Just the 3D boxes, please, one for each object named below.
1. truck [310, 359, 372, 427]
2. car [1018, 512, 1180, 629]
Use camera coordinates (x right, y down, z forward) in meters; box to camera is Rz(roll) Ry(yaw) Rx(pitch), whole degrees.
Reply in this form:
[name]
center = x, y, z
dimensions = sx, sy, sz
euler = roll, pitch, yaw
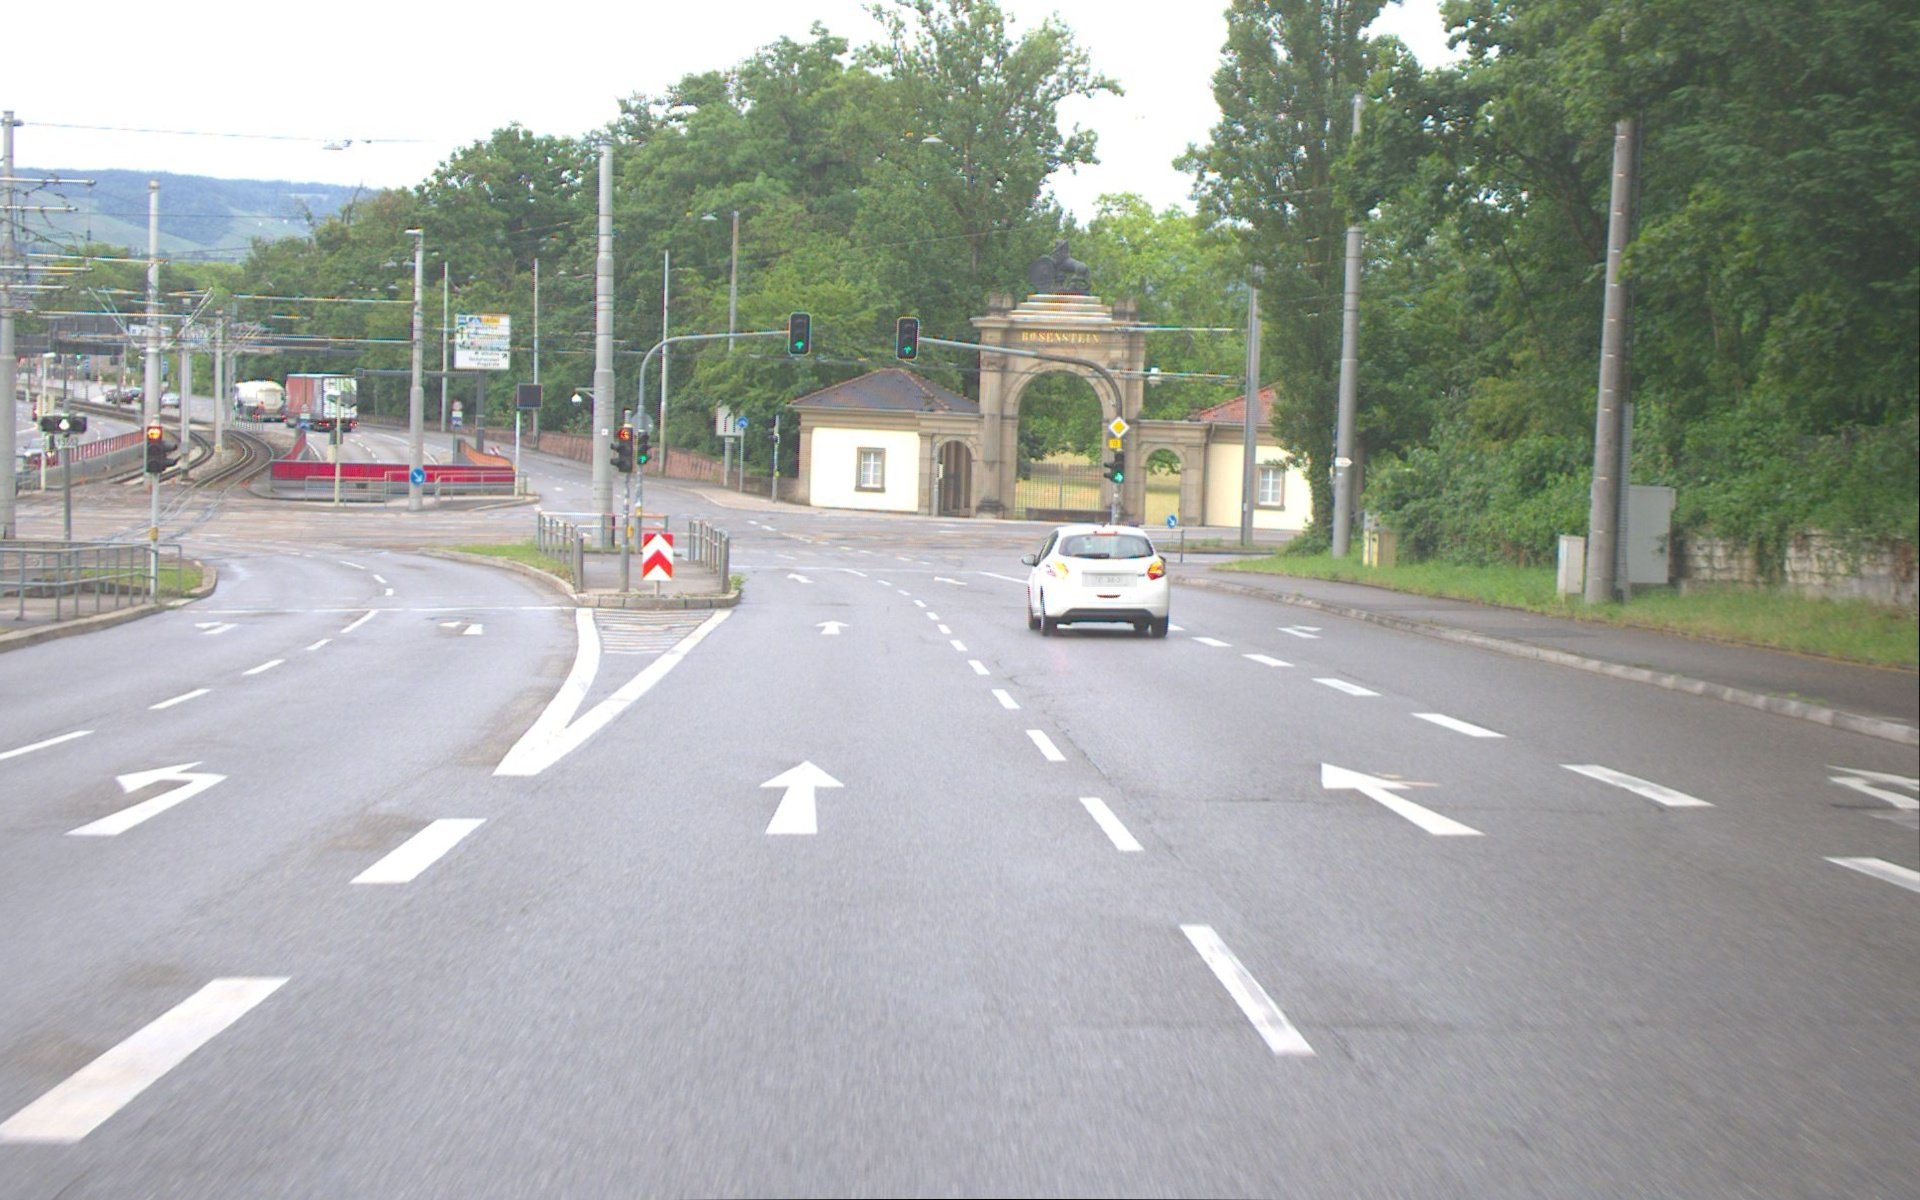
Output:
[truck]
center = -45.009, -14.960, 249.696
dimensions = 3.413, 4.554, 11.291
euler = 4, 2, -14
[car]
center = 1.839, -0.424, 46.493
dimensions = 1.868, 1.505, 3.900
euler = 0, 1, -2
